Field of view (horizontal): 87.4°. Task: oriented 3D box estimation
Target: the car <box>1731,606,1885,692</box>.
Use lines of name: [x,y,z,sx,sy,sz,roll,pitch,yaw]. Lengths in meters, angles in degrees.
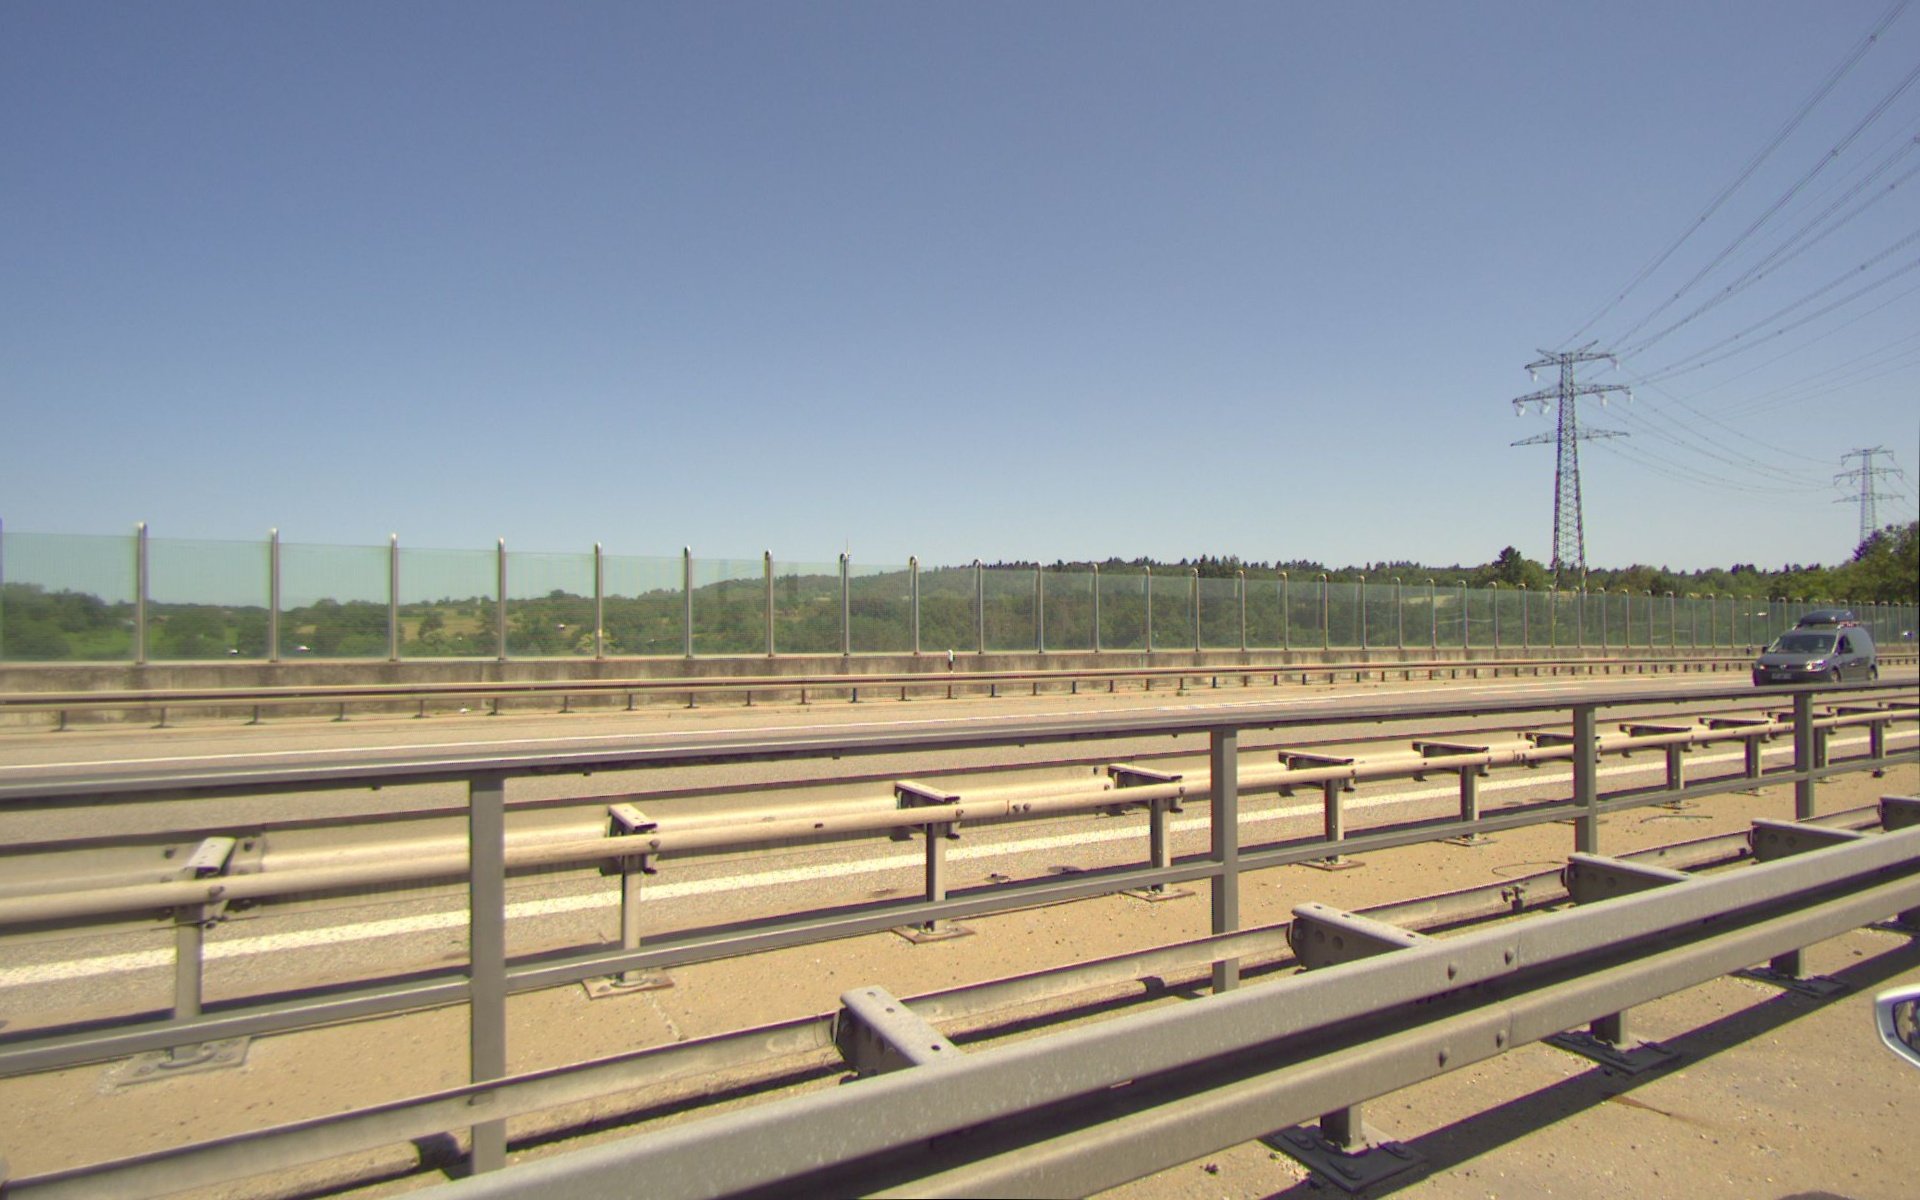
car: [23.858,1.374,28.245,4.219,2.244,1.984,1,-3,-31]
